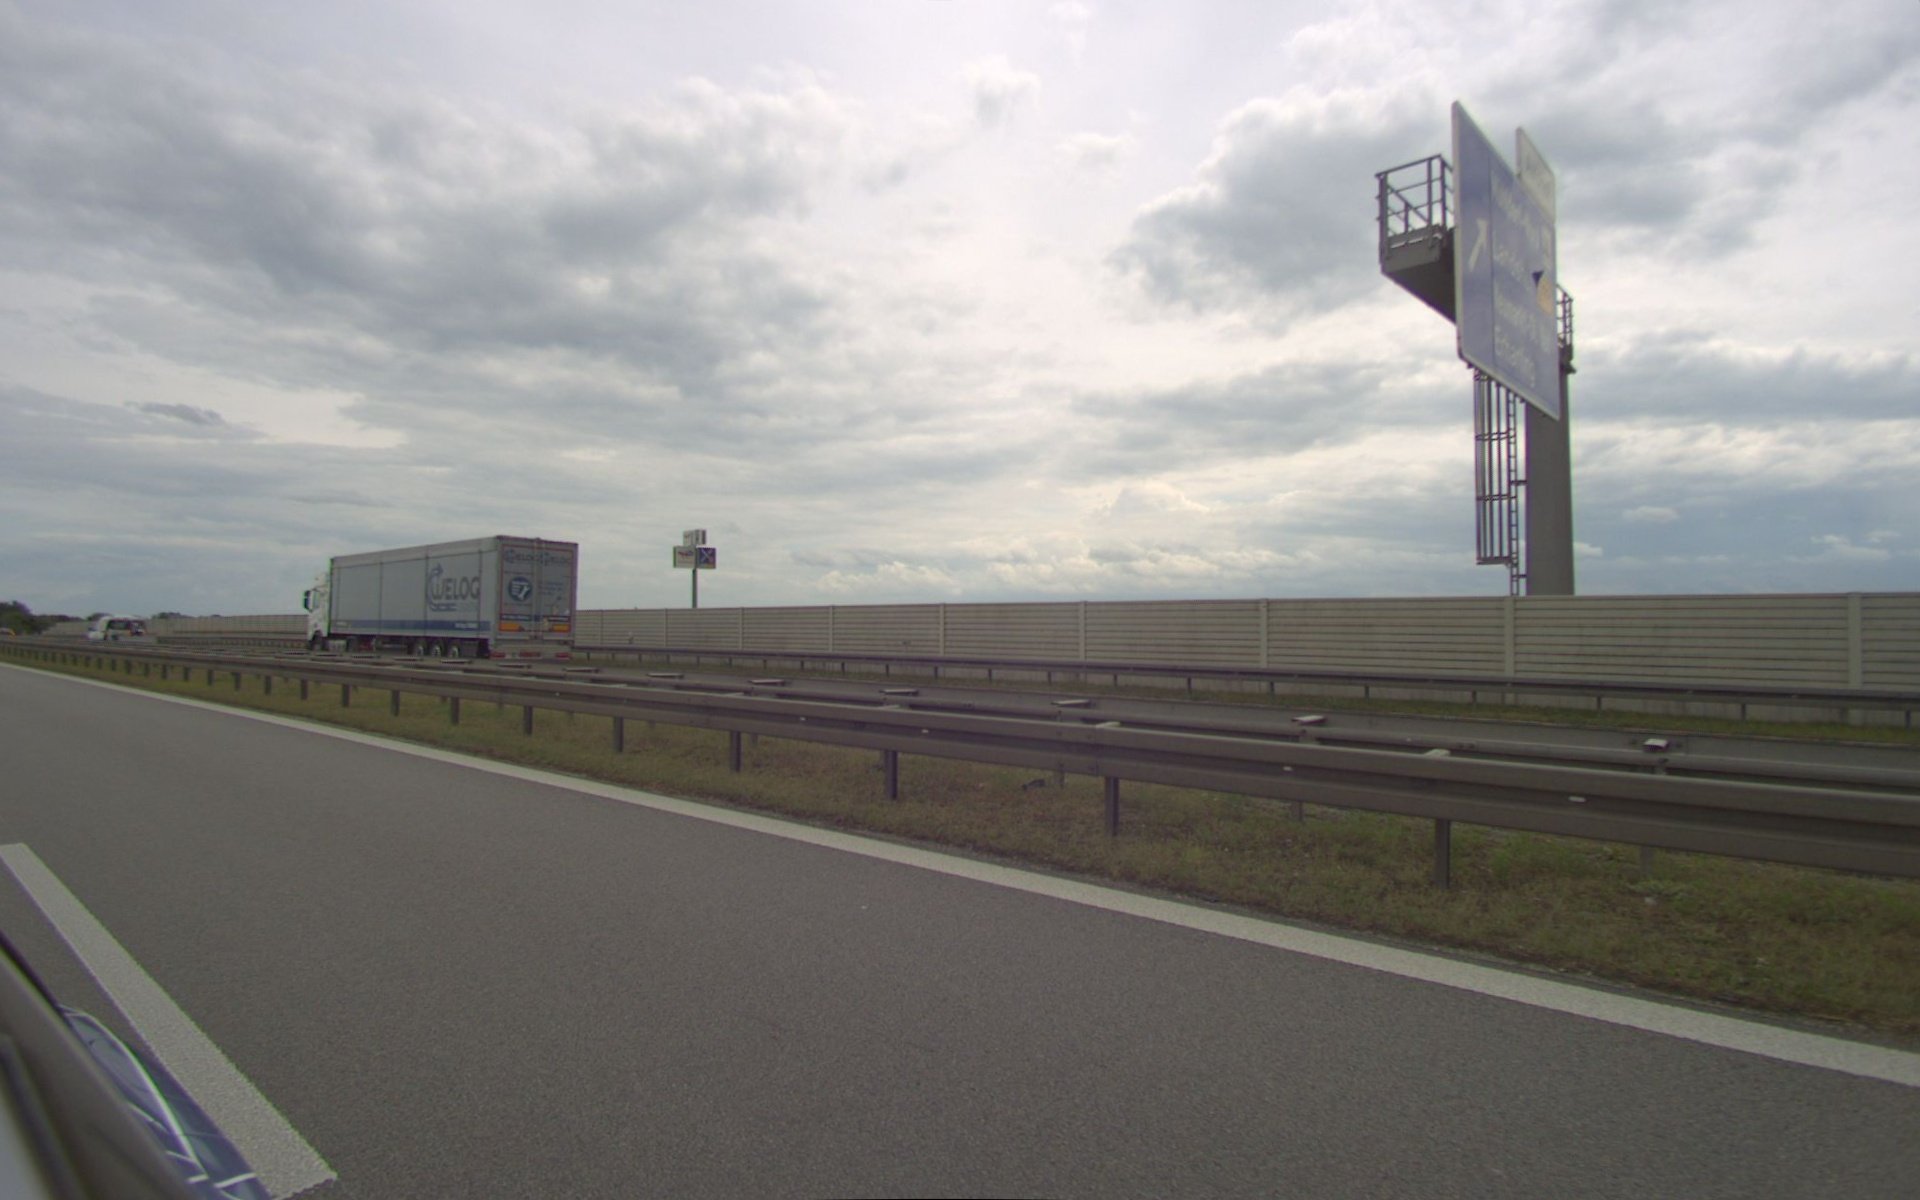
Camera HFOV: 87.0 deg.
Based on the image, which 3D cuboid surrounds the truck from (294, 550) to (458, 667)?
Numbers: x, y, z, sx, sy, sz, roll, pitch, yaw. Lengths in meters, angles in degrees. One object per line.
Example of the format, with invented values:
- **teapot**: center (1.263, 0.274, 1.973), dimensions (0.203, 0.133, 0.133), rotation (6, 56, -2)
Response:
- **truck**: center (-22.347, 0.392, 38.550), dimensions (7.320, 4.045, 3.077), rotation (-1, -3, 41)

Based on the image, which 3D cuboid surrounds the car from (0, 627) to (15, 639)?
- **car**: center (-117.039, 4.017, 123.708), dimensions (4.563, 1.506, 1.686), rotation (-1, -3, 41)

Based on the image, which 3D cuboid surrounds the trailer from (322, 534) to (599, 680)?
- **trailer**: center (-17.380, 0.349, 34.263), dimensions (14.016, 4.107, 3.146), rotation (-1, -3, 41)

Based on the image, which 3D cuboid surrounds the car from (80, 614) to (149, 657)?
- **car**: center (-40.584, 1.670, 48.569), dimensions (4.179, 1.860, 1.796), rotation (-1, 4, 41)

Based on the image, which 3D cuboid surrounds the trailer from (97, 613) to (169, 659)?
- **trailer**: center (-37.545, 1.609, 45.915), dimensions (3.861, 1.860, 1.796), rotation (-1, 4, 41)
